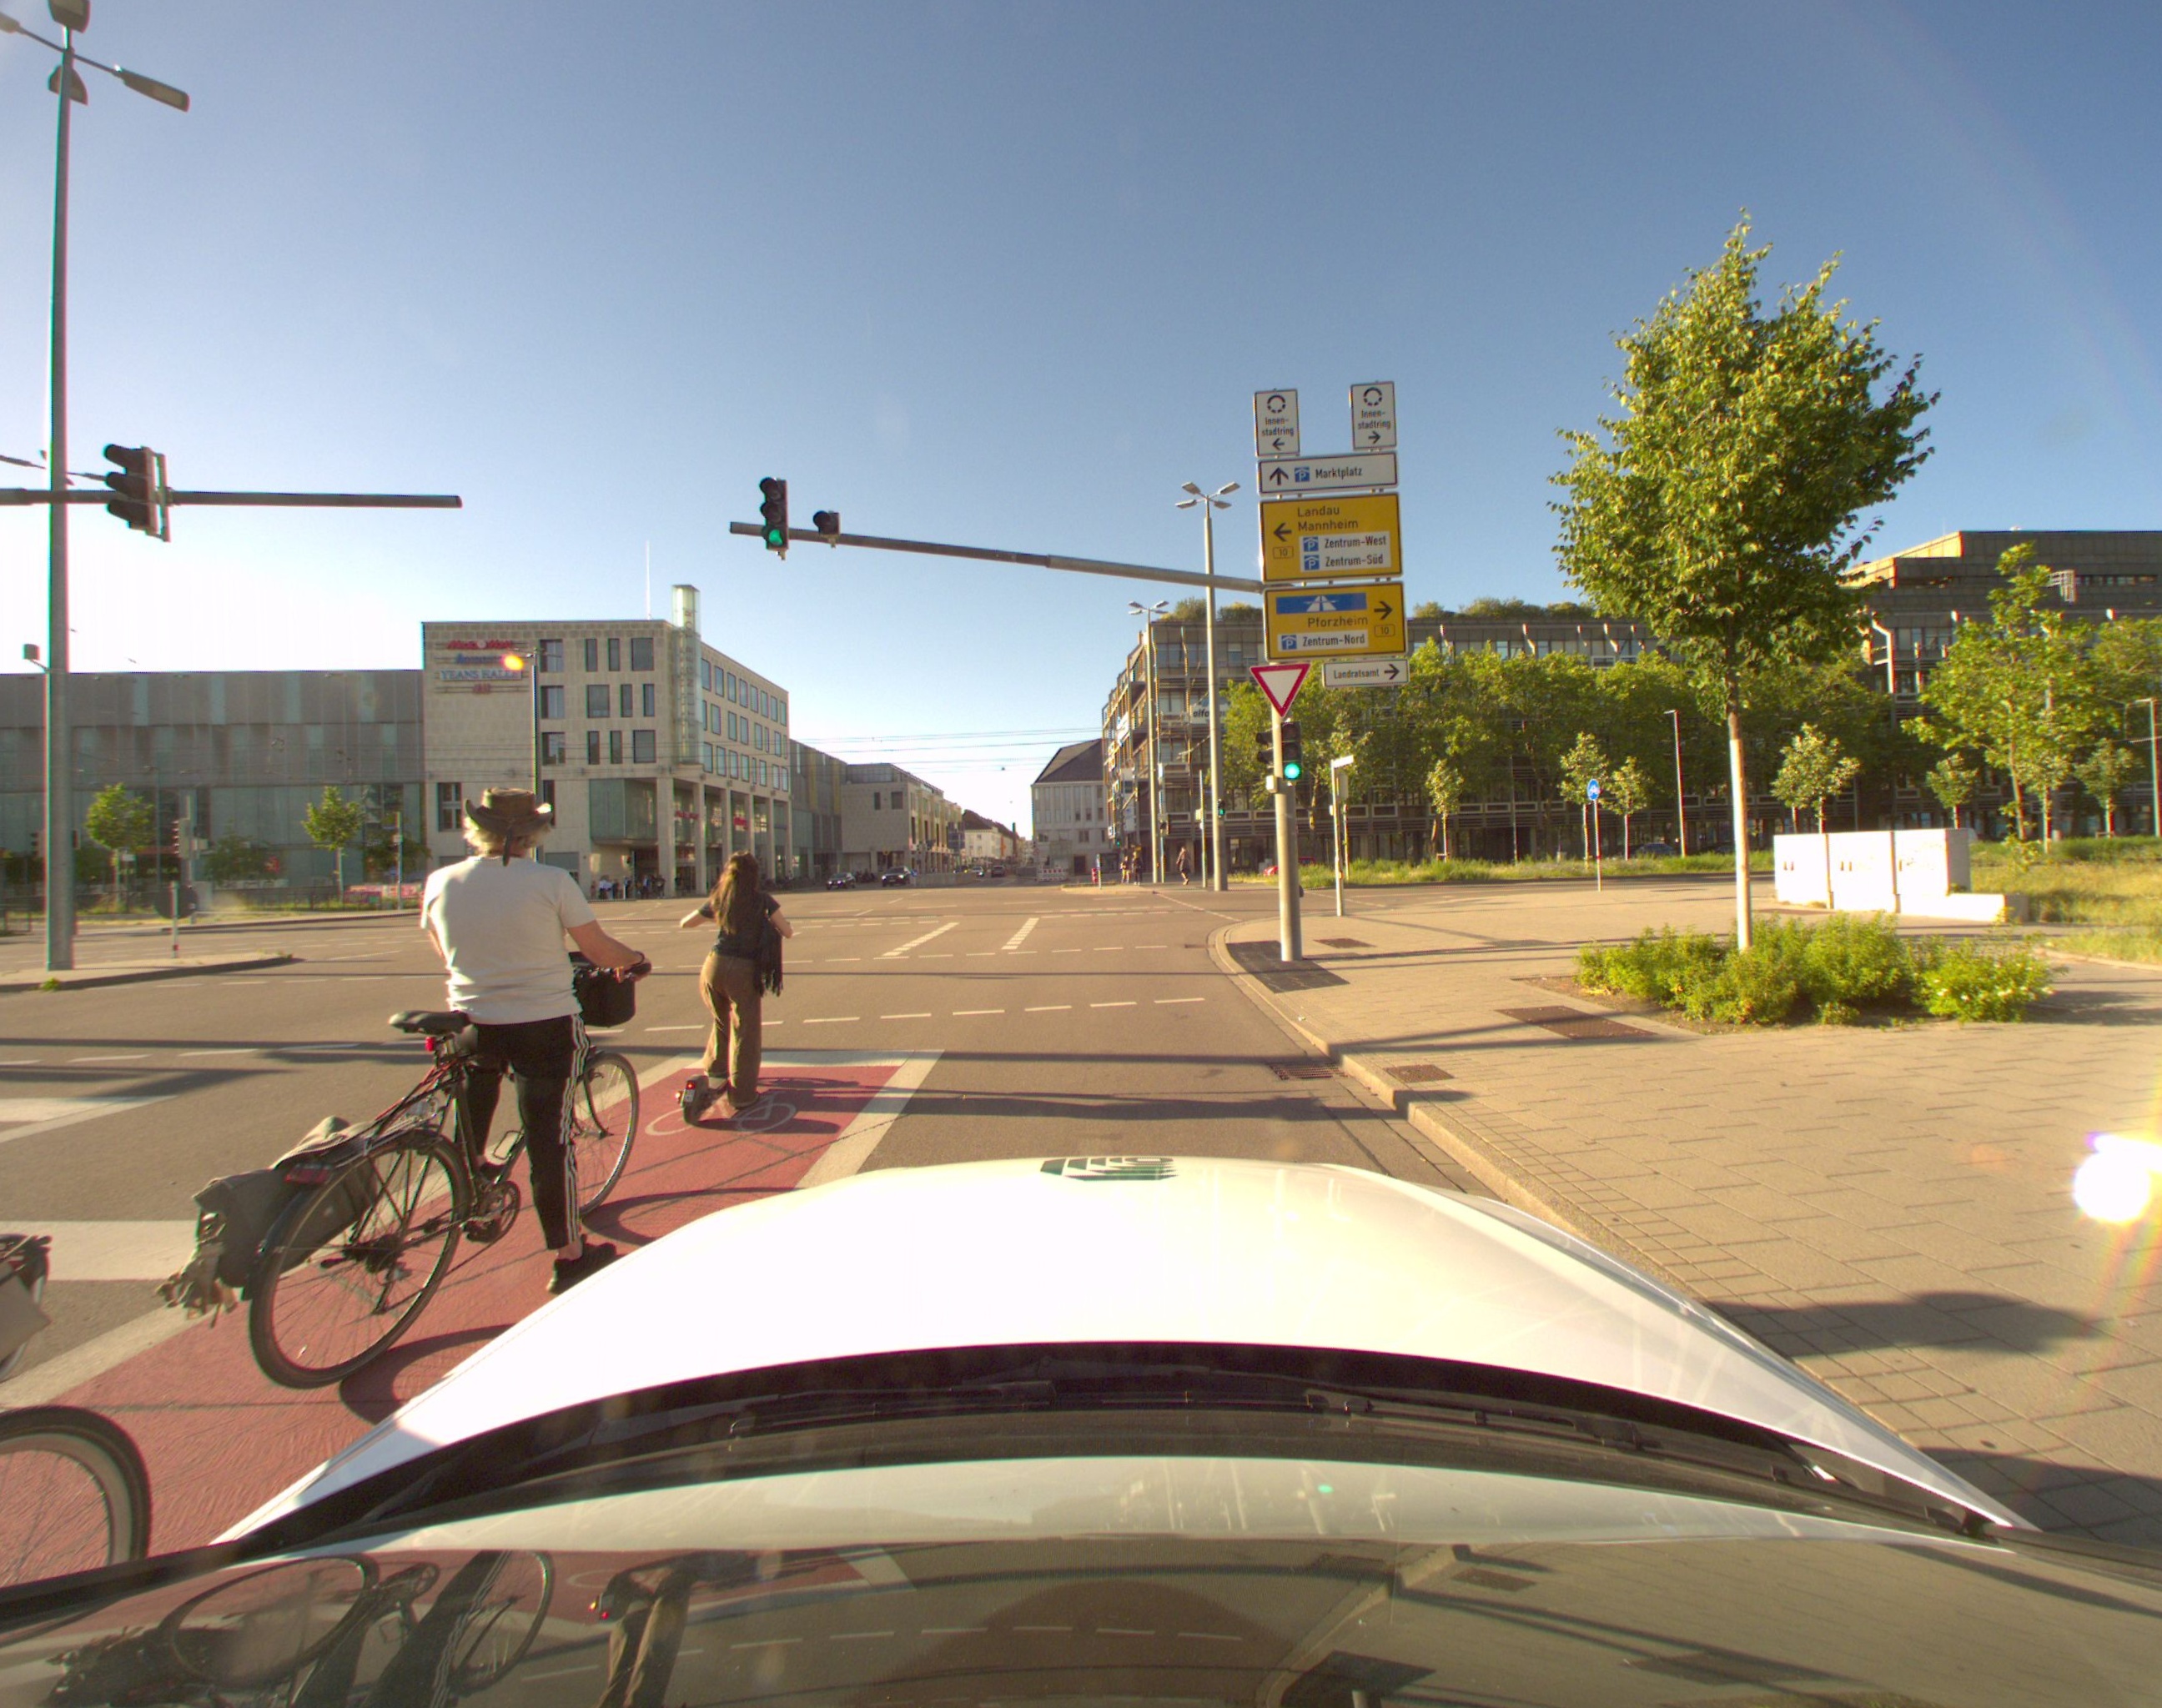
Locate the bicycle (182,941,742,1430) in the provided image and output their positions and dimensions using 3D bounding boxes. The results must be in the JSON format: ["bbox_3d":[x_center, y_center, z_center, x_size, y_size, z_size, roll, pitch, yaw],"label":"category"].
[{"bbox_3d":[-2.033,0.981,3.081,0.704,1.094,1.800,-2,0,0],"label":"bicycle"}]

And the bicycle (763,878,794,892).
[{"bbox_3d":[-26.715,2.754,72.018,2.457,1.111,0.685,-2,-1,4],"label":"bicycle"}]

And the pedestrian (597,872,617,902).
[{"bbox_3d":[-34.094,2.384,58.604,0.895,2.124,0.944,-2,-1,-9],"label":"pedestrian"}]

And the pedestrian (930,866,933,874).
[{"bbox_3d":[-22.999,2.460,125.245,0.487,1.356,0.563,0,-1,-4],"label":"pedestrian"}]

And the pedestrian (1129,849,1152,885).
[{"bbox_3d":[2.713,0.582,37.086,0.894,1.549,0.922,-2,1,-5],"label":"pedestrian"}]

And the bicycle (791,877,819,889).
[{"bbox_3d":[-27.122,2.863,79.971,2.458,1.111,0.684,-2,-1,2],"label":"bicycle"}]

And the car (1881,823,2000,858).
[{"bbox_3d":[56.641,-0.866,53.731,5.680,2.014,2.262,-2,-3,-5],"label":"car"}]

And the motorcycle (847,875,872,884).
[{"bbox_3d":[-25.895,3.021,95.089,2.664,0.996,0.914,0,-1,-6],"label":"motorcycle"}]

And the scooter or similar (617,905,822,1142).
[{"bbox_3d":[-2.181,0.955,5.122,0.640,1.175,1.483,-1,-1,-1],"label":"scooter or similar"}]

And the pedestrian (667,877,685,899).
[{"bbox_3d":[-29.172,2.454,58.678,0.831,1.571,0.951,-2,-1,43],"label":"pedestrian"}]

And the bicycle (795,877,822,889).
[{"bbox_3d":[-27.176,2.879,81.224,2.458,1.111,0.835,-2,-1,2],"label":"bicycle"}]

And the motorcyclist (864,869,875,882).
[{"bbox_3d":[-25.581,2.634,98.555,1.135,1.575,0.914,0,-1,-5],"label":"motorcyclist"}]

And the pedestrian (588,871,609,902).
[{"bbox_3d":[-33.923,2.305,57.298,0.894,2.124,0.945,-2,-1,-7],"label":"pedestrian"}]

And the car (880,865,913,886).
[{"bbox_3d":[-15.654,1.815,69.253,1.933,1.677,4.289,-2,-1,-3],"label":"car"}]

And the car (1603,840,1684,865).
[{"bbox_3d":[41.790,-0.147,60.545,4.848,1.680,1.995,-2,0,-7],"label":"car"}]

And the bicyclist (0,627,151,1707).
[{"bbox_3d":[-1.697,0.488,0.760,0.648,1.543,0.847,-2,-1,1],"label":"bicyclist"}]

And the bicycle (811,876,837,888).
[{"bbox_3d":[-26.921,2.920,85.373,2.458,1.111,0.661,-2,-1,2],"label":"bicycle"}]

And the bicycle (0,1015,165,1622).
[{"bbox_3d":[-2.425,0.932,0.949,0.621,1.116,1.816,-2,0,1],"label":"bicycle"}]

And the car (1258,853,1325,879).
[{"bbox_3d":[13.885,0.805,53.796,3.857,1.486,1.844,-2,-4,-2],"label":"car"}]

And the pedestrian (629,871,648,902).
[{"bbox_3d":[-31.449,2.303,57.820,1.067,2.129,1.086,-1,-1,-34],"label":"pedestrian"}]

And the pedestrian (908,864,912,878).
[{"bbox_3d":[-24.627,2.456,117.159,0.616,2.014,0.476,0,-1,-13],"label":"pedestrian"}]

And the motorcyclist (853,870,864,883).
[{"bbox_3d":[-25.979,2.623,95.077,1.035,1.471,0.914,0,-1,-5],"label":"motorcyclist"}]

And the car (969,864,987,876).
[{"bbox_3d":[-16.223,2.516,128.885,2.168,1.692,5.611,-2,-1,-1],"label":"car"}]

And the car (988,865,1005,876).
[{"bbox_3d":[-11.288,2.191,108.684,1.931,1.450,4.259,-2,-1,-2],"label":"car"}]

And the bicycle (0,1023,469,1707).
[{"bbox_3d":[-1.686,0.924,0.876,0.648,1.094,1.800,-2,0,1],"label":"bicycle"}]

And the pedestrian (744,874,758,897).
[{"bbox_3d":[-25.424,2.439,62.682,0.748,1.740,0.756,-2,-1,-1],"label":"pedestrian"}]

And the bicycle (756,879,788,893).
[{"bbox_3d":[-26.801,2.746,70.654,2.458,1.111,0.684,-2,-1,2],"label":"bicycle"}]

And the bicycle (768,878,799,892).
[{"bbox_3d":[-26.595,2.747,72.825,2.458,1.111,0.684,-2,-1,2],"label":"bicycle"}]

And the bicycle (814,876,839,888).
[{"bbox_3d":[-26.898,2.936,86.151,2.458,1.111,0.661,-2,-1,2],"label":"bicycle"}]

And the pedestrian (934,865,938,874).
[{"bbox_3d":[-23.324,2.532,131.124,0.487,1.356,0.563,0,-1,-4],"label":"pedestrian"}]

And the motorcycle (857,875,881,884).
[{"bbox_3d":[-25.602,3.060,98.533,2.664,0.996,0.914,0,-1,-6],"label":"motorcycle"}]

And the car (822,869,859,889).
[{"bbox_3d":[-20.806,2.158,70.639,1.931,1.581,4.293,-2,0,0],"label":"car"}]

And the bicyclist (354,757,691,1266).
[{"bbox_3d":[-2.053,0.524,3.112,0.697,1.669,0.786,-2,-1,0],"label":"bicyclist"}]

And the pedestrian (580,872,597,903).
[{"bbox_3d":[-35.230,2.388,58.221,0.900,2.124,0.939,-1,-1,-25],"label":"pedestrian"}]

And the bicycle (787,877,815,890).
[{"bbox_3d":[-26.599,2.830,77.403,2.458,1.111,0.684,-2,-1,2],"label":"bicycle"}]

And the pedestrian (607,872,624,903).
[{"bbox_3d":[-32.499,2.307,56.875,0.902,2.124,0.936,-1,-1,-37],"label":"pedestrian"}]

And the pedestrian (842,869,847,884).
[{"bbox_3d":[-33.204,3.150,114.226,0.616,2.014,0.476,0,-1,-13],"label":"pedestrian"}]

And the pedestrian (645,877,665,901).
[{"bbox_3d":[-31.033,2.533,59.323,1.013,1.651,0.937,-1,-1,-44],"label":"pedestrian"}]

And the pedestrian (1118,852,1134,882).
[{"bbox_3d":[2.973,0.838,54.007,1.008,1.911,1.051,-2,0,1],"label":"pedestrian"}]

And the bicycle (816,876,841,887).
[{"bbox_3d":[-26.955,2.953,86.825,2.458,1.111,0.631,-2,-1,2],"label":"bicycle"}]

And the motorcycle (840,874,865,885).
[{"bbox_3d":[-26.018,2.882,92.728,2.664,1.217,0.914,0,-1,-6],"label":"motorcycle"}]

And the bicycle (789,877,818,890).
[{"bbox_3d":[-26.639,2.833,78.180,2.458,1.111,0.684,-2,-1,2],"label":"bicycle"}]

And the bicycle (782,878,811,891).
[{"bbox_3d":[-26.629,2.815,76.177,2.458,1.111,0.594,-2,-1,2],"label":"bicycle"}]

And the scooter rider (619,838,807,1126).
[{"bbox_3d":[-2.174,0.692,4.957,0.640,1.544,1.116,-1,-1,-1],"label":"scooter rider"}]

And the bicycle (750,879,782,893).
[{"bbox_3d":[-26.818,2.748,69.307,2.394,1.113,0.658,-2,-1,1],"label":"bicycle"}]

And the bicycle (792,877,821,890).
[{"bbox_3d":[-26.607,2.841,79.020,2.458,1.111,0.835,-2,-1,2],"label":"bicycle"}]

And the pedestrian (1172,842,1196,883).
[{"bbox_3d":[4.580,0.372,36.247,0.854,1.744,0.737,-2,0,-7],"label":"pedestrian"}]

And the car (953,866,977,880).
[{"bbox_3d":[-15.269,2.494,107.646,2.166,1.692,5.488,-2,-1,1],"label":"car"}]

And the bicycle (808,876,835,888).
[{"bbox_3d":[-26.975,2.922,84.598,2.458,1.111,0.835,-2,-1,2],"label":"bicycle"}]

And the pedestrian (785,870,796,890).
[{"bbox_3d":[-30.125,2.659,84.371,0.949,1.982,1.000,-1,-1,-23],"label":"pedestrian"}]

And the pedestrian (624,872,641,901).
[{"bbox_3d":[-32.519,2.338,58.994,0.921,2.014,1.012,-1,-1,-37],"label":"pedestrian"}]
